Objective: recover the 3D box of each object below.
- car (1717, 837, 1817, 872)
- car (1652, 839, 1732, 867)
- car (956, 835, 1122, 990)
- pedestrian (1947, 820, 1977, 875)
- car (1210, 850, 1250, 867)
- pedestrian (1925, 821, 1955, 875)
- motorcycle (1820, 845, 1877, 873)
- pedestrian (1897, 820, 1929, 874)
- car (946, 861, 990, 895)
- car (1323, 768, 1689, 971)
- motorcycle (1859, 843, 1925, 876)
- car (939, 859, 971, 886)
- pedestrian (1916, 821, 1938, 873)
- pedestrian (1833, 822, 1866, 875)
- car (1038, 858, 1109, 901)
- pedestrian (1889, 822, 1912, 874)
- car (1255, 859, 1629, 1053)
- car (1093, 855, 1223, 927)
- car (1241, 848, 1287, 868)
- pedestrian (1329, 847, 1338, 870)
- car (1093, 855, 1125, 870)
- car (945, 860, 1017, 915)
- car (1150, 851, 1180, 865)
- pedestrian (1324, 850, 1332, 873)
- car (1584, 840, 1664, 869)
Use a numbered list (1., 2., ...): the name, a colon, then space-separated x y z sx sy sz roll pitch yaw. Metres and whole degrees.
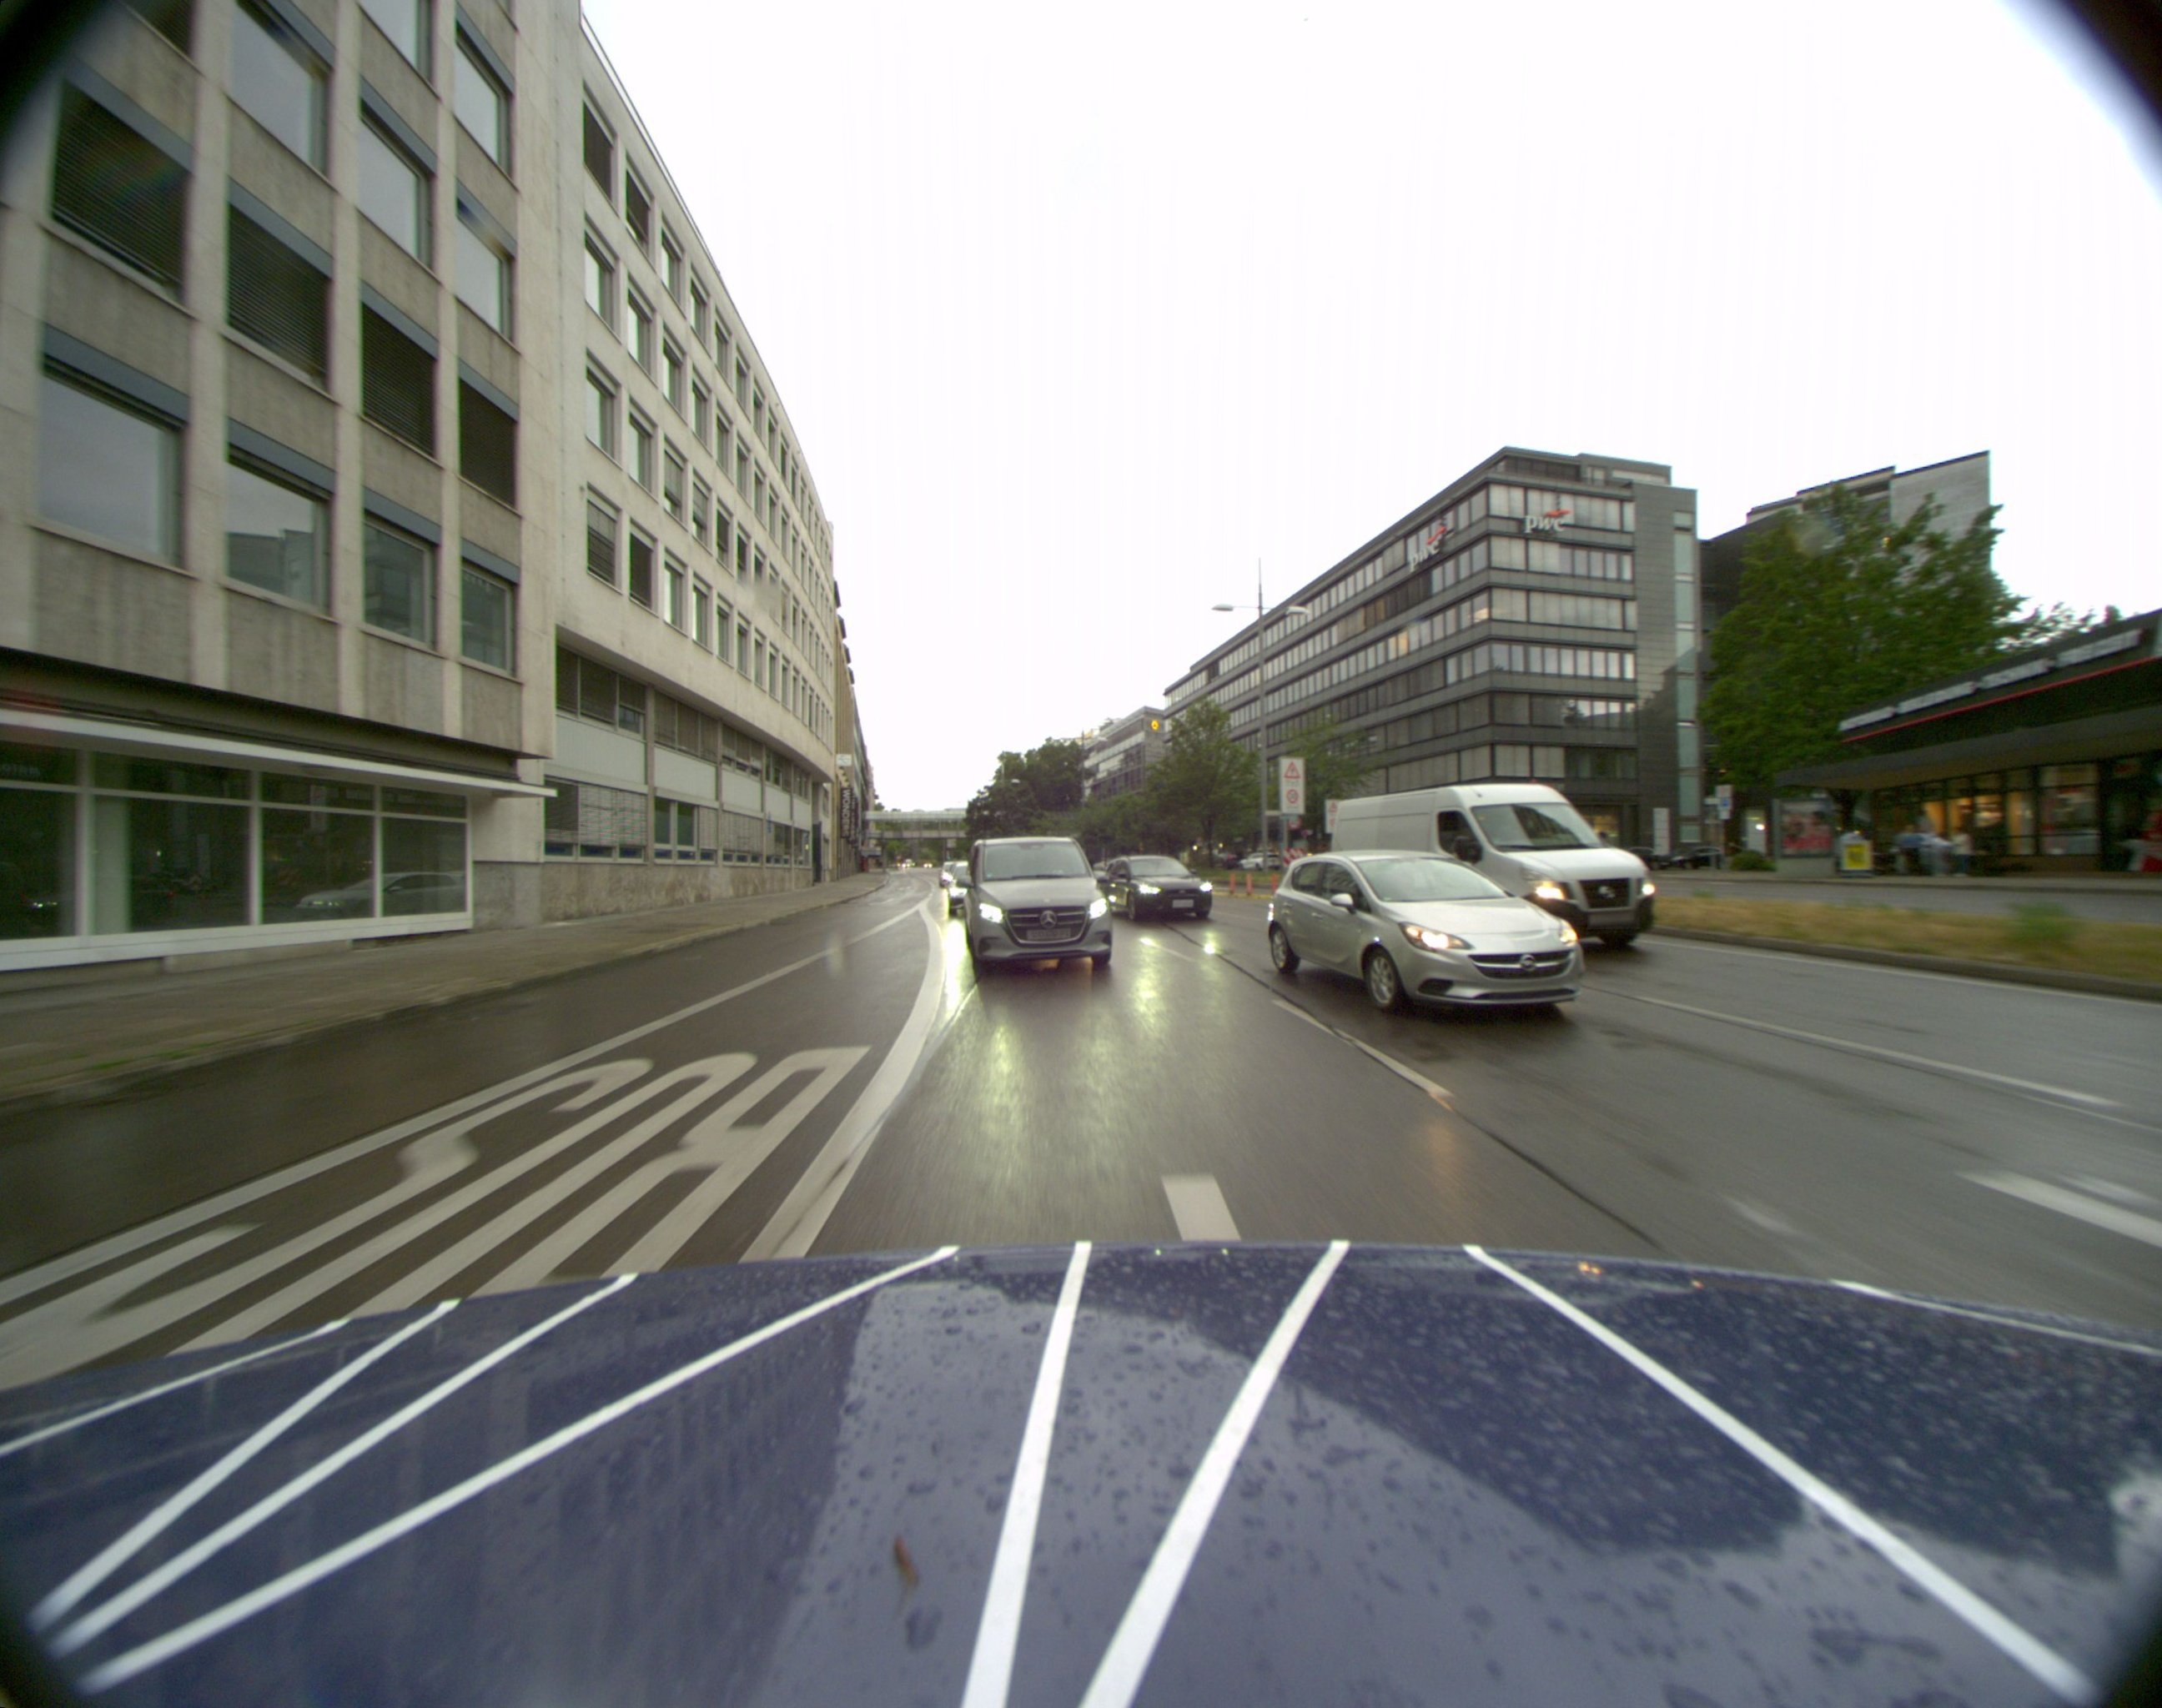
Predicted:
1. car: 34.233 0.032 37.959 3.765 1.575 1.848 -2 0 -13
2. car: 37.518 -0.074 46.703 3.765 1.575 1.848 -2 0 -13
3. car: -0.909 0.735 12.008 1.918 1.844 5.022 -2 0 -10
4. pedestrian: 29.089 -0.213 25.083 0.428 1.761 0.470 -2 1 10
5. car: 13.389 0.408 68.556 2.001 1.498 4.102 -2 0 -14
6. pedestrian: 28.517 -0.192 25.232 0.428 1.761 0.470 -2 1 10
7. motorcycle: 31.924 0.210 31.620 1.621 1.138 0.360 -2 1 32
8. pedestrian: 27.591 -0.240 25.202 0.556 1.761 0.405 -2 1 10
9. car: -5.598 1.139 37.995 2.000 1.456 4.401 -3 1 -7
10. car: 6.179 0.184 12.107 1.953 2.426 5.475 -2 0 -11
11. motorcycle: 30.630 0.210 28.724 1.665 1.226 0.361 -2 1 41
12. car: -7.624 1.083 45.833 1.724 1.456 4.032 -3 1 -10
13. pedestrian: 29.119 -0.229 26.148 0.328 1.761 0.358 -2 1 10
14. pedestrian: 26.140 -0.180 25.858 0.536 1.761 0.550 -2 1 10
15. car: -0.369 0.852 27.207 1.777 1.372 4.091 -2 0 -11
16. pedestrian: 28.171 -0.189 26.124 0.328 1.761 0.438 -2 1 8
17. car: 3.321 0.806 7.924 1.653 1.427 3.872 -2 0 -7
18. car: 1.687 0.794 18.184 1.778 1.427 4.090 -2 0 -14
19. car: 14.960 0.330 62.281 2.001 1.498 3.995 -2 0 -14
20. pedestrian: 22.515 0.418 67.679 0.575 2.002 0.461 -2 1 -15
21. car: 2.633 0.838 72.778 1.753 1.365 3.994 -2 0 -18
22. car: -3.087 0.939 22.949 1.931 1.471 3.997 -1 -1 -10
23. car: 9.285 0.467 84.618 2.001 1.498 3.995 -2 0 -14
24. pedestrian: 21.558 0.674 66.211 0.541 2.002 0.297 -2 1 -15
25. car: 32.560 0.054 45.586 3.765 1.575 1.848 -2 0 -13
